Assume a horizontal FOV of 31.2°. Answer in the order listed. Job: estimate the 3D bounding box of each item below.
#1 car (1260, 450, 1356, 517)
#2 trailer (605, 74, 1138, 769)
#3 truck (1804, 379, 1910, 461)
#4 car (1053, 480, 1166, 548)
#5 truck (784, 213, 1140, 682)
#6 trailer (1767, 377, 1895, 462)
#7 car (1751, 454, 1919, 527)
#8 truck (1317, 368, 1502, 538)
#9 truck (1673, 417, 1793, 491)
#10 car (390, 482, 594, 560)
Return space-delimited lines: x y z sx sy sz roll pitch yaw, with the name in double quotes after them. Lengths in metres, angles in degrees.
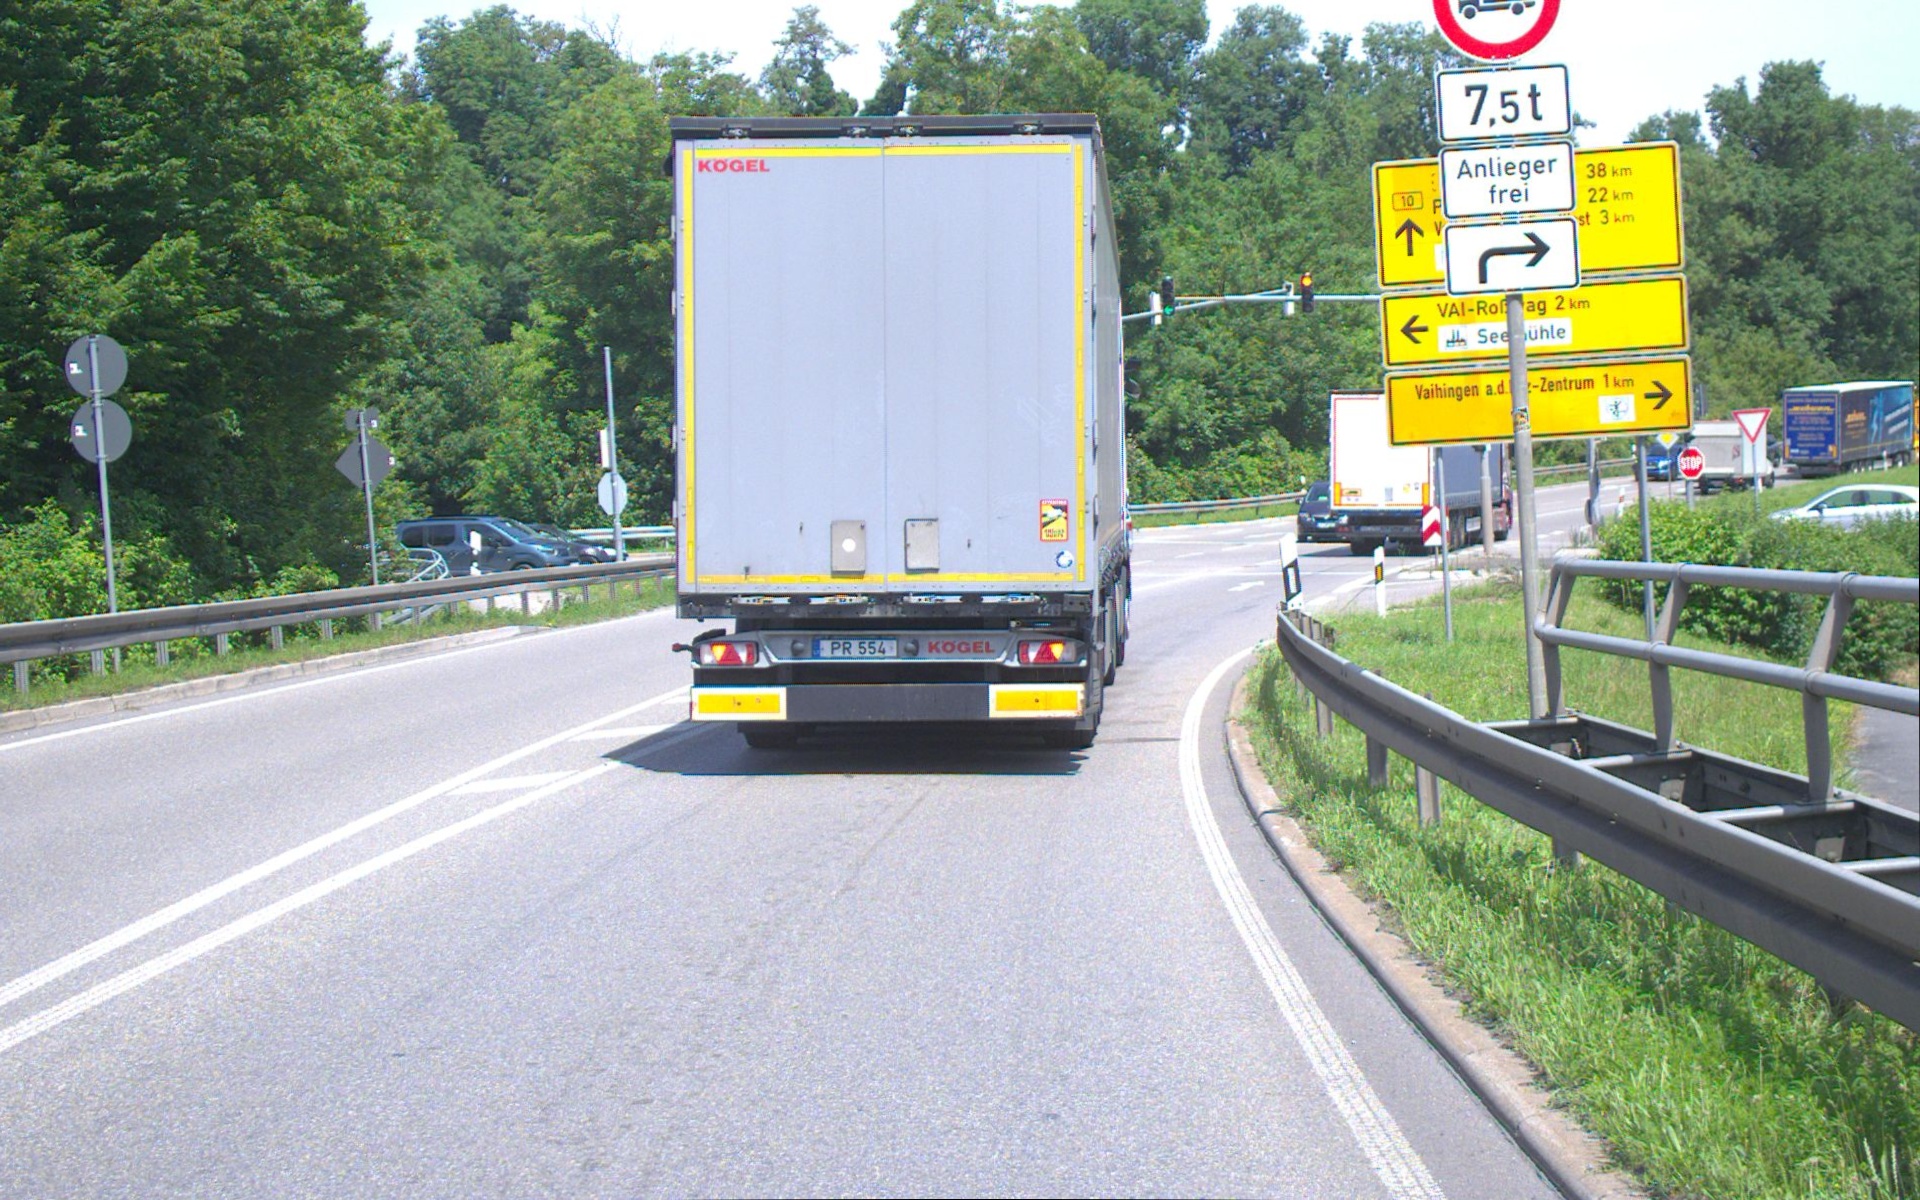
9.949 -3.293 98.061 1.995 1.779 4.939 1 1 14 "car"
-0.194 -1.201 26.361 3.052 4.020 12.558 -1 2 3 "trailer"
41.571 -8.302 159.269 3.257 3.672 6.234 1 3 30 "truck"
3.538 -2.005 80.893 1.994 1.514 3.998 1 1 12 "car"
0.190 -1.403 33.116 3.038 4.020 6.629 -1 1 3 "truck"
39.441 -8.122 155.488 3.257 3.672 9.236 1 3 30 "trailer"
21.449 -2.641 83.344 4.430 1.712 1.999 1 0 13 "car"
11.614 -3.633 87.668 3.181 4.015 11.737 0 1 15 "truck"
31.632 -5.961 140.510 2.860 2.937 7.093 1 3 30 "truck"
-10.915 -1.848 80.262 4.237 1.764 1.998 0 2 18 "car"
